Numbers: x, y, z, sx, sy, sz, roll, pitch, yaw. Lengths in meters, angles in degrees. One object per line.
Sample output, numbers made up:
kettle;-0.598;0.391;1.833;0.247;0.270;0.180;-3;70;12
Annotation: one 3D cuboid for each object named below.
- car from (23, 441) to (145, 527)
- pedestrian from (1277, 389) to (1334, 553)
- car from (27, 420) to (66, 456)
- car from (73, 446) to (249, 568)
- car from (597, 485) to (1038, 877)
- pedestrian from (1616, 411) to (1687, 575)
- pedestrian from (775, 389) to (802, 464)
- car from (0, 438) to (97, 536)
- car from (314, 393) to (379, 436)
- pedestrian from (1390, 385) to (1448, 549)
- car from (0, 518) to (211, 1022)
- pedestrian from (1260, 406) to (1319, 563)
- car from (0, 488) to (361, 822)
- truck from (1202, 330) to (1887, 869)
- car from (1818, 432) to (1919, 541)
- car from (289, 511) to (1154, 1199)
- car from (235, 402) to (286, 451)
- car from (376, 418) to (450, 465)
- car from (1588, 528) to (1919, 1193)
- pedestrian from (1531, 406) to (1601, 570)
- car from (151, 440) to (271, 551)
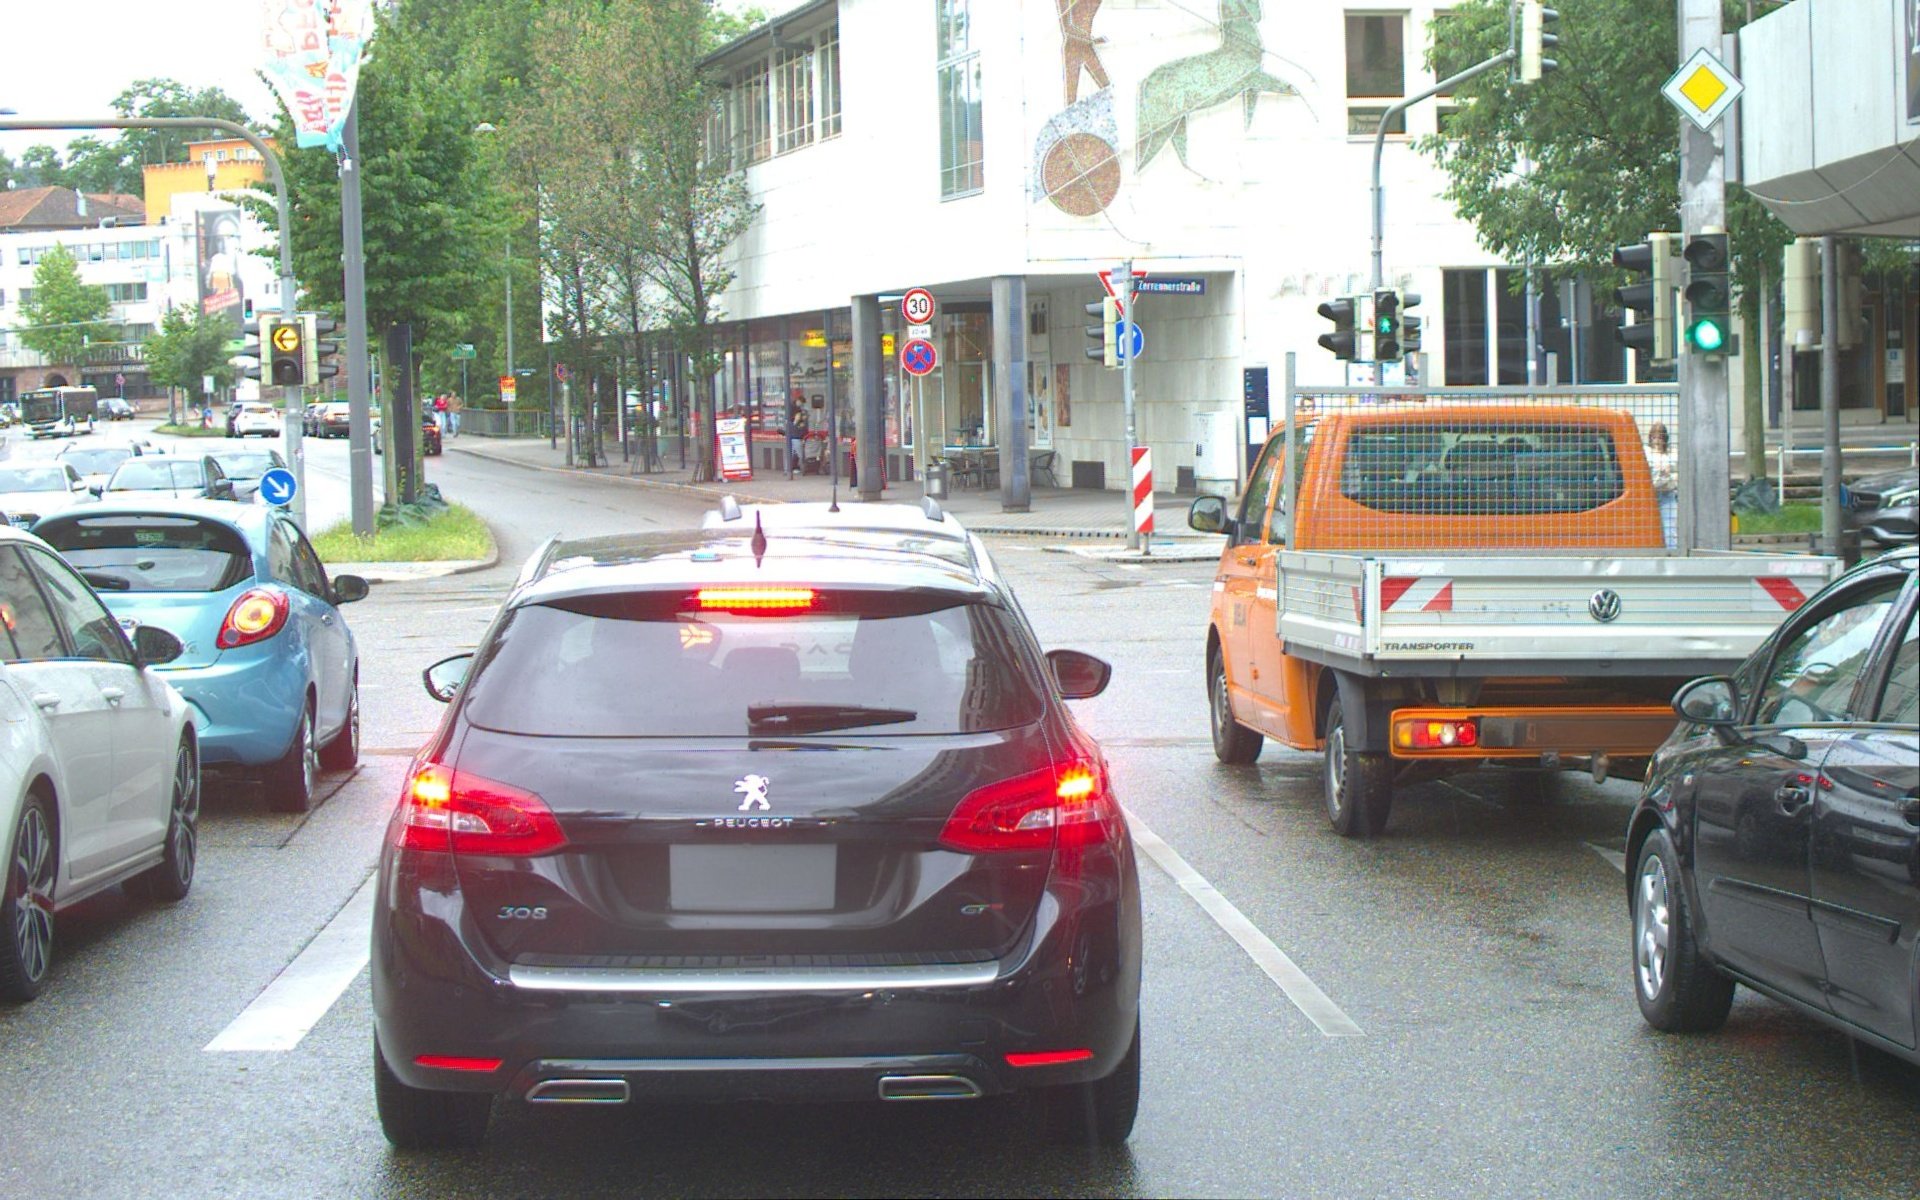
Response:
car;-15.540;-2.079;61.134;1.632;1.481;3.611;0;2;-7
pedestrian;4.060;-1.508;40.364;0.637;1.891;0.733;0;0;6
car;-56.311;-10.000;211.869;1.993;2.007;4.001;1;0;-20
car;-11.055;-1.260;47.780;1.744;1.574;4.000;1;0;-4
car;-0.579;0.252;15.217;1.696;1.481;3.794;1;2;-1
pedestrian;7.072;-1.085;35.173;0.637;1.653;0.733;0;0;6
pedestrian;-4.061;-4.094;81.374;0.468;1.742;0.541;1;0;-21
car;-14.640;-1.798;54.041;1.632;1.481;3.611;0;2;-7
car;-25.200;-7.586;141.092;1.724;1.485;4.734;1;0;-21
pedestrian;5.380;-1.554;40.355;0.637;1.891;0.733;0;0;6
car;-3.728;0.453;11.455;1.777;1.424;3.843;0;2;-2
pedestrian;3.732;-1.299;38.893;0.637;1.752;0.733;0;0;6
car;-4.009;0.197;17.422;1.632;1.481;3.610;0;2;-5
truck;2.543;-0.099;16.410;2.177;2.165;5.021;1;2;-3
car;12.099;-1.305;40.283;3.688;1.208;1.835;1;0;4
car;-0.471;0.498;9.018;1.778;1.424;3.842;1;2;1
car;-29.724;-7.343;145.991;1.705;1.875;4.001;1;0;-18
car;-18.257;-5.290;114.651;1.787;1.449;4.508;-4;4;-17
car;2.851;0.559;8.632;1.616;1.424;3.843;0;2;-3
pedestrian;6.196;-1.139;35.171;0.637;1.653;0.733;0;0;6
car;-11.877;-1.629;54.685;1.744;1.634;4.001;1;0;-11
